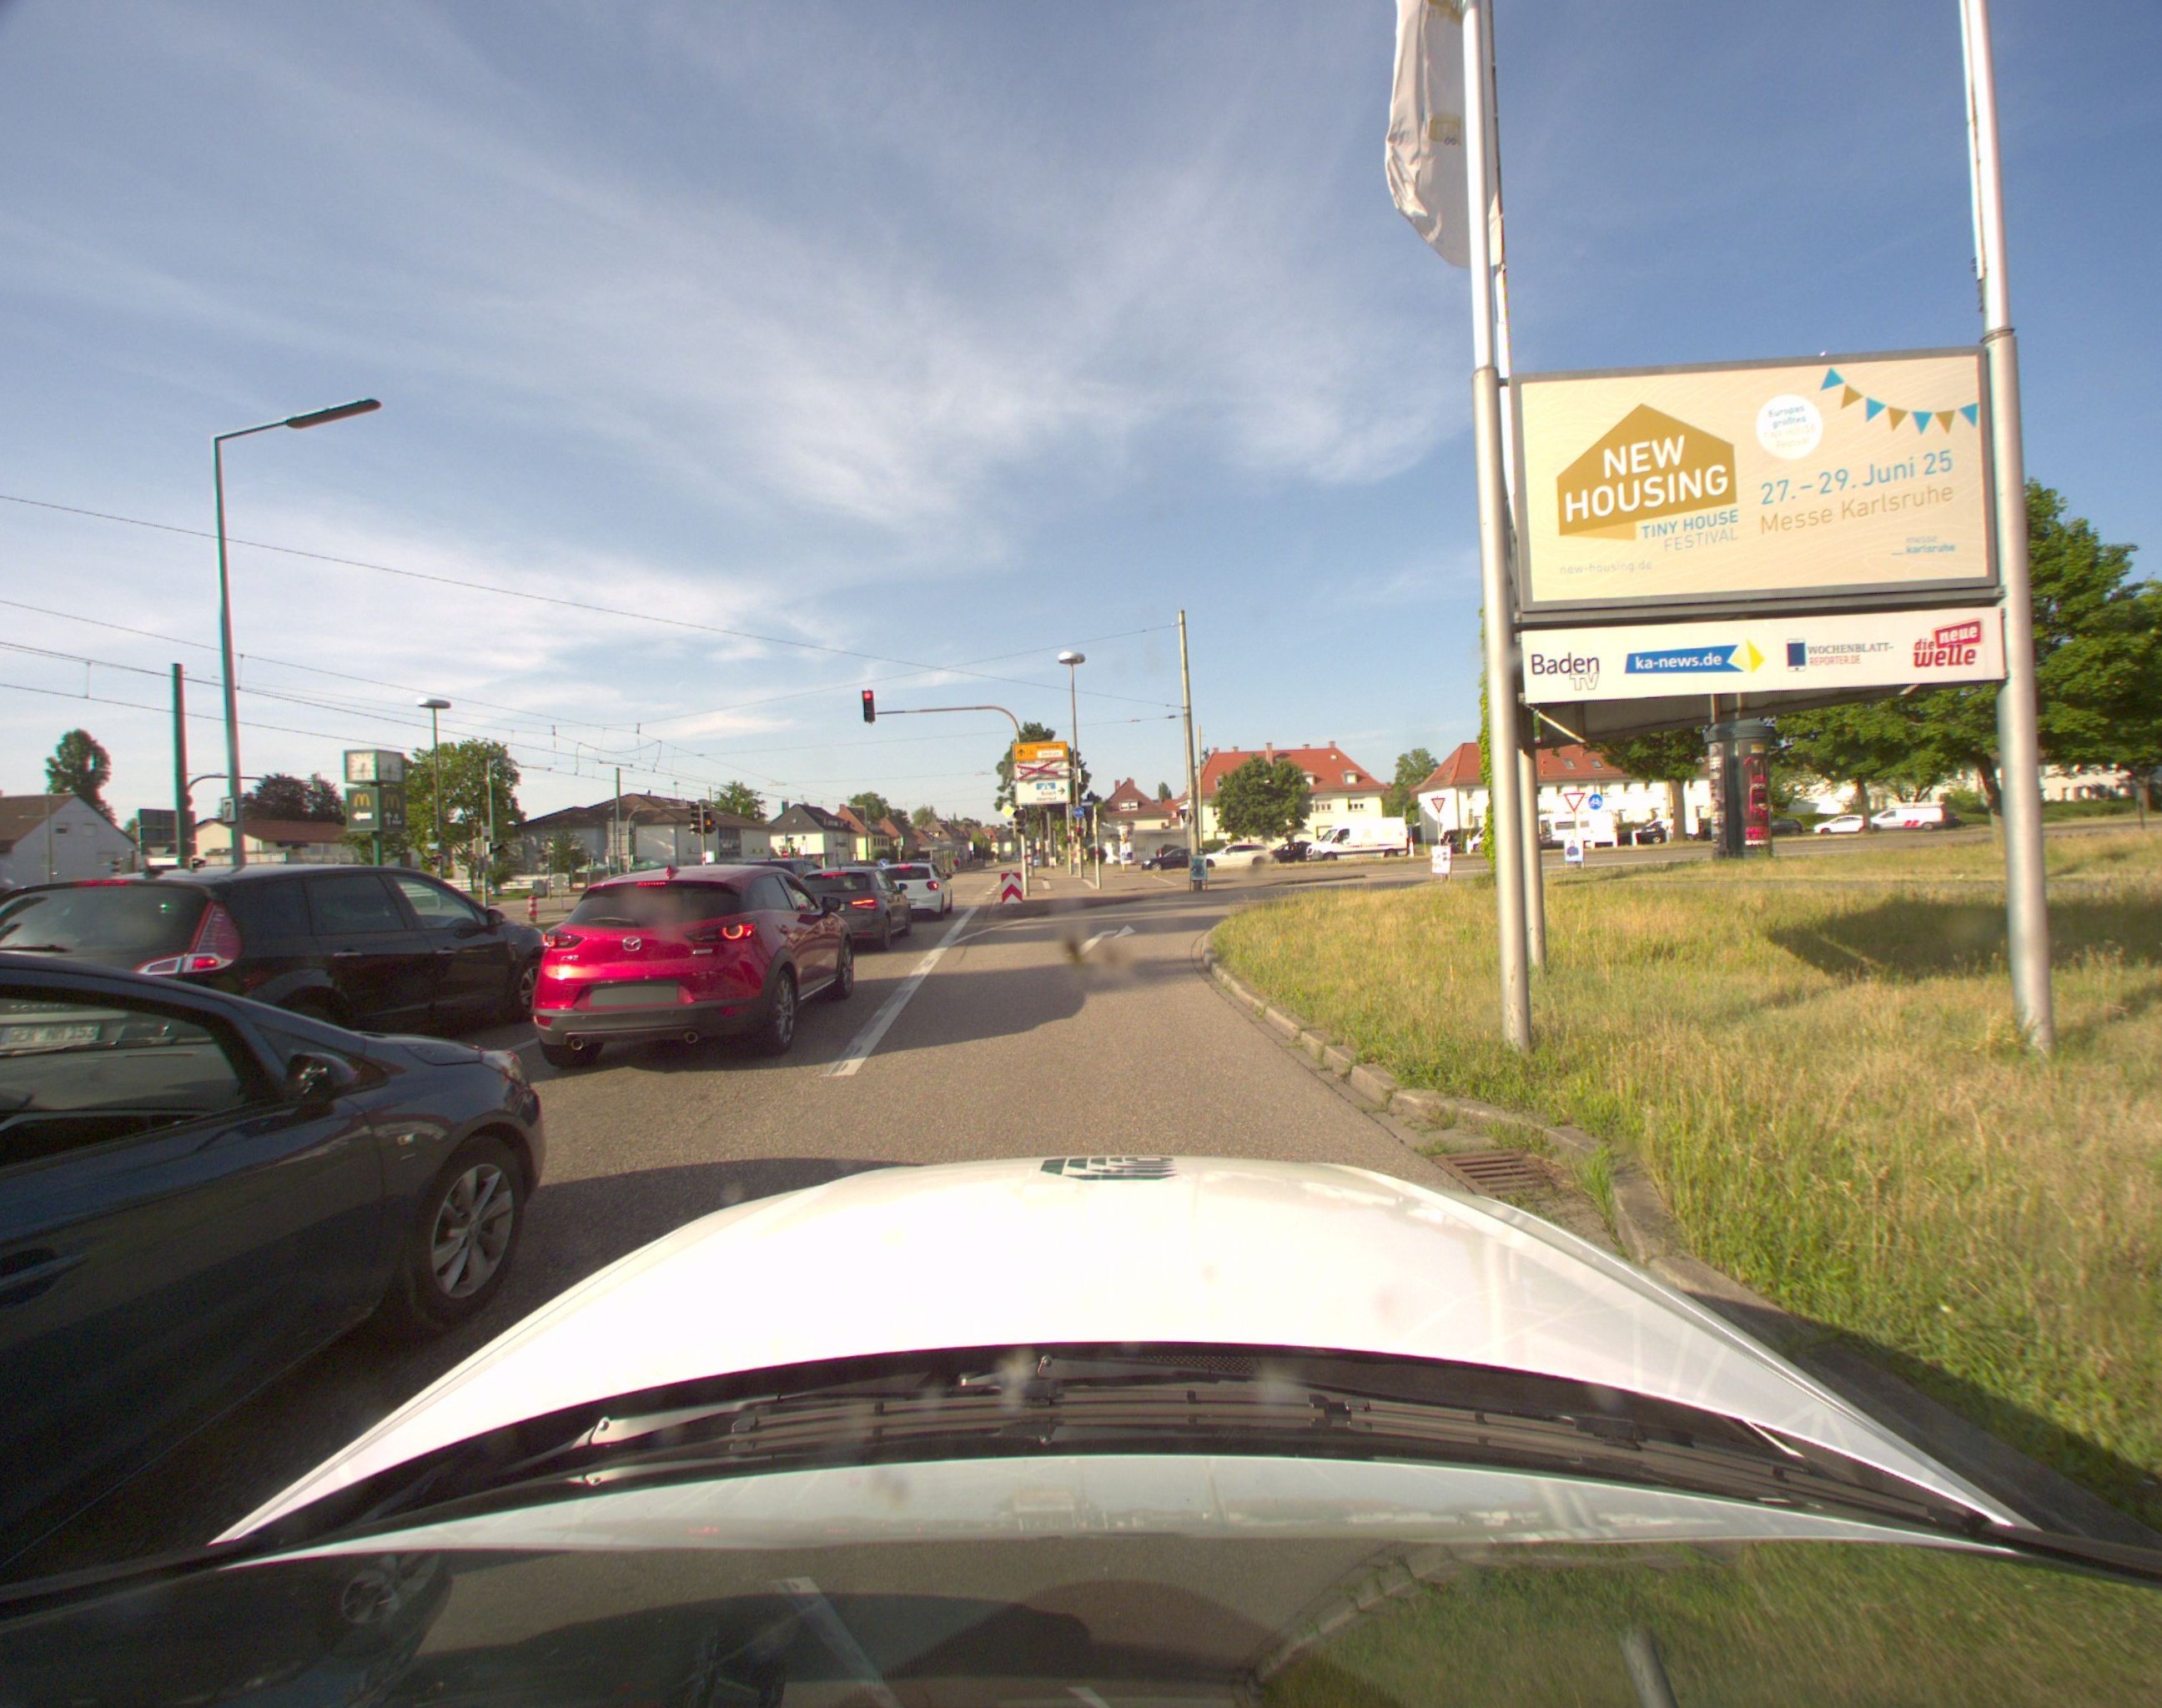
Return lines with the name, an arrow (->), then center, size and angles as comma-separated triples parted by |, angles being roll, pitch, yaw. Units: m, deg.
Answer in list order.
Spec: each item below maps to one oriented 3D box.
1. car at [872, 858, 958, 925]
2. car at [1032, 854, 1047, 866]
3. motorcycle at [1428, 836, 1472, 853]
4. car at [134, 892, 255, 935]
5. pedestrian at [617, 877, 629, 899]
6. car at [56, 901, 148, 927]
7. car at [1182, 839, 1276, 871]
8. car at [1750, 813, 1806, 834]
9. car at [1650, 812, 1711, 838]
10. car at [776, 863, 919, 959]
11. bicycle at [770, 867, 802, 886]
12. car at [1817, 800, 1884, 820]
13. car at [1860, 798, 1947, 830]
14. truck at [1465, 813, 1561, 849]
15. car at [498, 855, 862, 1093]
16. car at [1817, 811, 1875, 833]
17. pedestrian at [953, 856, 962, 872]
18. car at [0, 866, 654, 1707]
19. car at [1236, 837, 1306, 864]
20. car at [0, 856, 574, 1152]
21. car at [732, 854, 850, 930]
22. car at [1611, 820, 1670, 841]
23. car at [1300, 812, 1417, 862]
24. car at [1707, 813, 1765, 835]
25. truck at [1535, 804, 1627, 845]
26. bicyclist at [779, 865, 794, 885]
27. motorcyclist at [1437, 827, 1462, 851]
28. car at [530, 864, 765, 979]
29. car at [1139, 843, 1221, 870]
car -> -4.182, 0.883, 21.024 | 1.654, 1.443, 4.007 | -3, 0, -5
car -> -4.841, 0.709, 94.921 | 1.670, 1.398, 3.996 | -2, -1, -2
motorcycle -> 21.627, -0.560, 47.706 | 2.267, 0.866, 0.689 | -3, 0, -5
car -> -42.821, 2.856, 39.385 | 3.976, 1.793, 1.518 | -3, 0, -2
pedestrian -> -33.769, 2.513, 60.095 | 0.510, 1.599, 0.539 | -3, 0, 0
car -> -76.345, 4.667, 63.585 | 1.985, 1.684, 4.223 | -2, -1, 3
car -> 8.614, 0.070, 47.613 | 5.083, 1.563, 1.838 | -3, 0, -3
car -> 58.737, -2.544, 68.657 | 3.390, 1.513, 1.907 | -3, 0, 45
car -> 49.495, -2.369, 67.286 | 3.859, 1.920, 1.908 | -3, 0, 41
car -> -4.109, 0.932, 14.929 | 1.638, 1.397, 3.823 | -3, 0, -3
bicycle -> -21.912, 1.684, 60.504 | 2.076, 1.348, 1.104 | -1, -1, -13
car -> 79.717, -4.567, 84.473 | 1.989, 1.719, 4.973 | -3, 0, -4
car -> 69.098, -3.340, 68.558 | 4.915, 2.232, 2.013 | -3, 0, 41
truck -> 34.275, -1.806, 64.845 | 2.289, 2.524, 6.285 | -3, 1, -38
car -> -3.291, 0.822, 7.627 | 1.704, 1.551, 3.970 | -2, 0, -6
car -> 63.530, -2.659, 67.640 | 3.390, 1.513, 1.907 | -3, 0, 45
pedestrian -> -11.824, 0.999, 77.924 | 0.751, 1.499, 0.827 | -2, -1, -1
car -> -2.811, 0.864, 1.827 | 1.739, 1.505, 4.214 | -3, 0, -6
car -> 11.955, -0.229, 51.368 | 3.977, 1.453, 1.714 | -3, 0, -3
car -> -6.274, 0.895, 6.824 | 1.761, 1.670, 4.075 | -2, 0, -6
car -> -7.395, 0.887, 21.255 | 1.503, 1.651, 4.739 | -3, 0, -3
car -> 46.136, -1.954, 67.156 | 3.858, 1.456, 1.908 | -3, 0, 38
car -> 16.377, -0.966, 48.197 | 6.194, 2.583, 1.998 | -3, 0, -3
car -> 53.560, -2.427, 66.619 | 3.456, 1.513, 1.907 | -3, 0, 45
truck -> 40.315, -2.335, 65.750 | 6.000, 2.854, 1.908 | -3, 0, 41
bicyclist -> -21.870, 1.528, 60.508 | 0.885, 1.431, 1.132 | -1, -1, -12
motorcyclist -> 21.595, -0.860, 47.700 | 1.063, 1.352, 0.679 | -3, 0, -4
car -> -7.125, 0.997, 14.016 | 1.695, 1.508, 4.549 | -2, 0, -2
car -> 6.177, 0.127, 51.087 | 4.812, 1.411, 1.714 | -3, 0, -3
